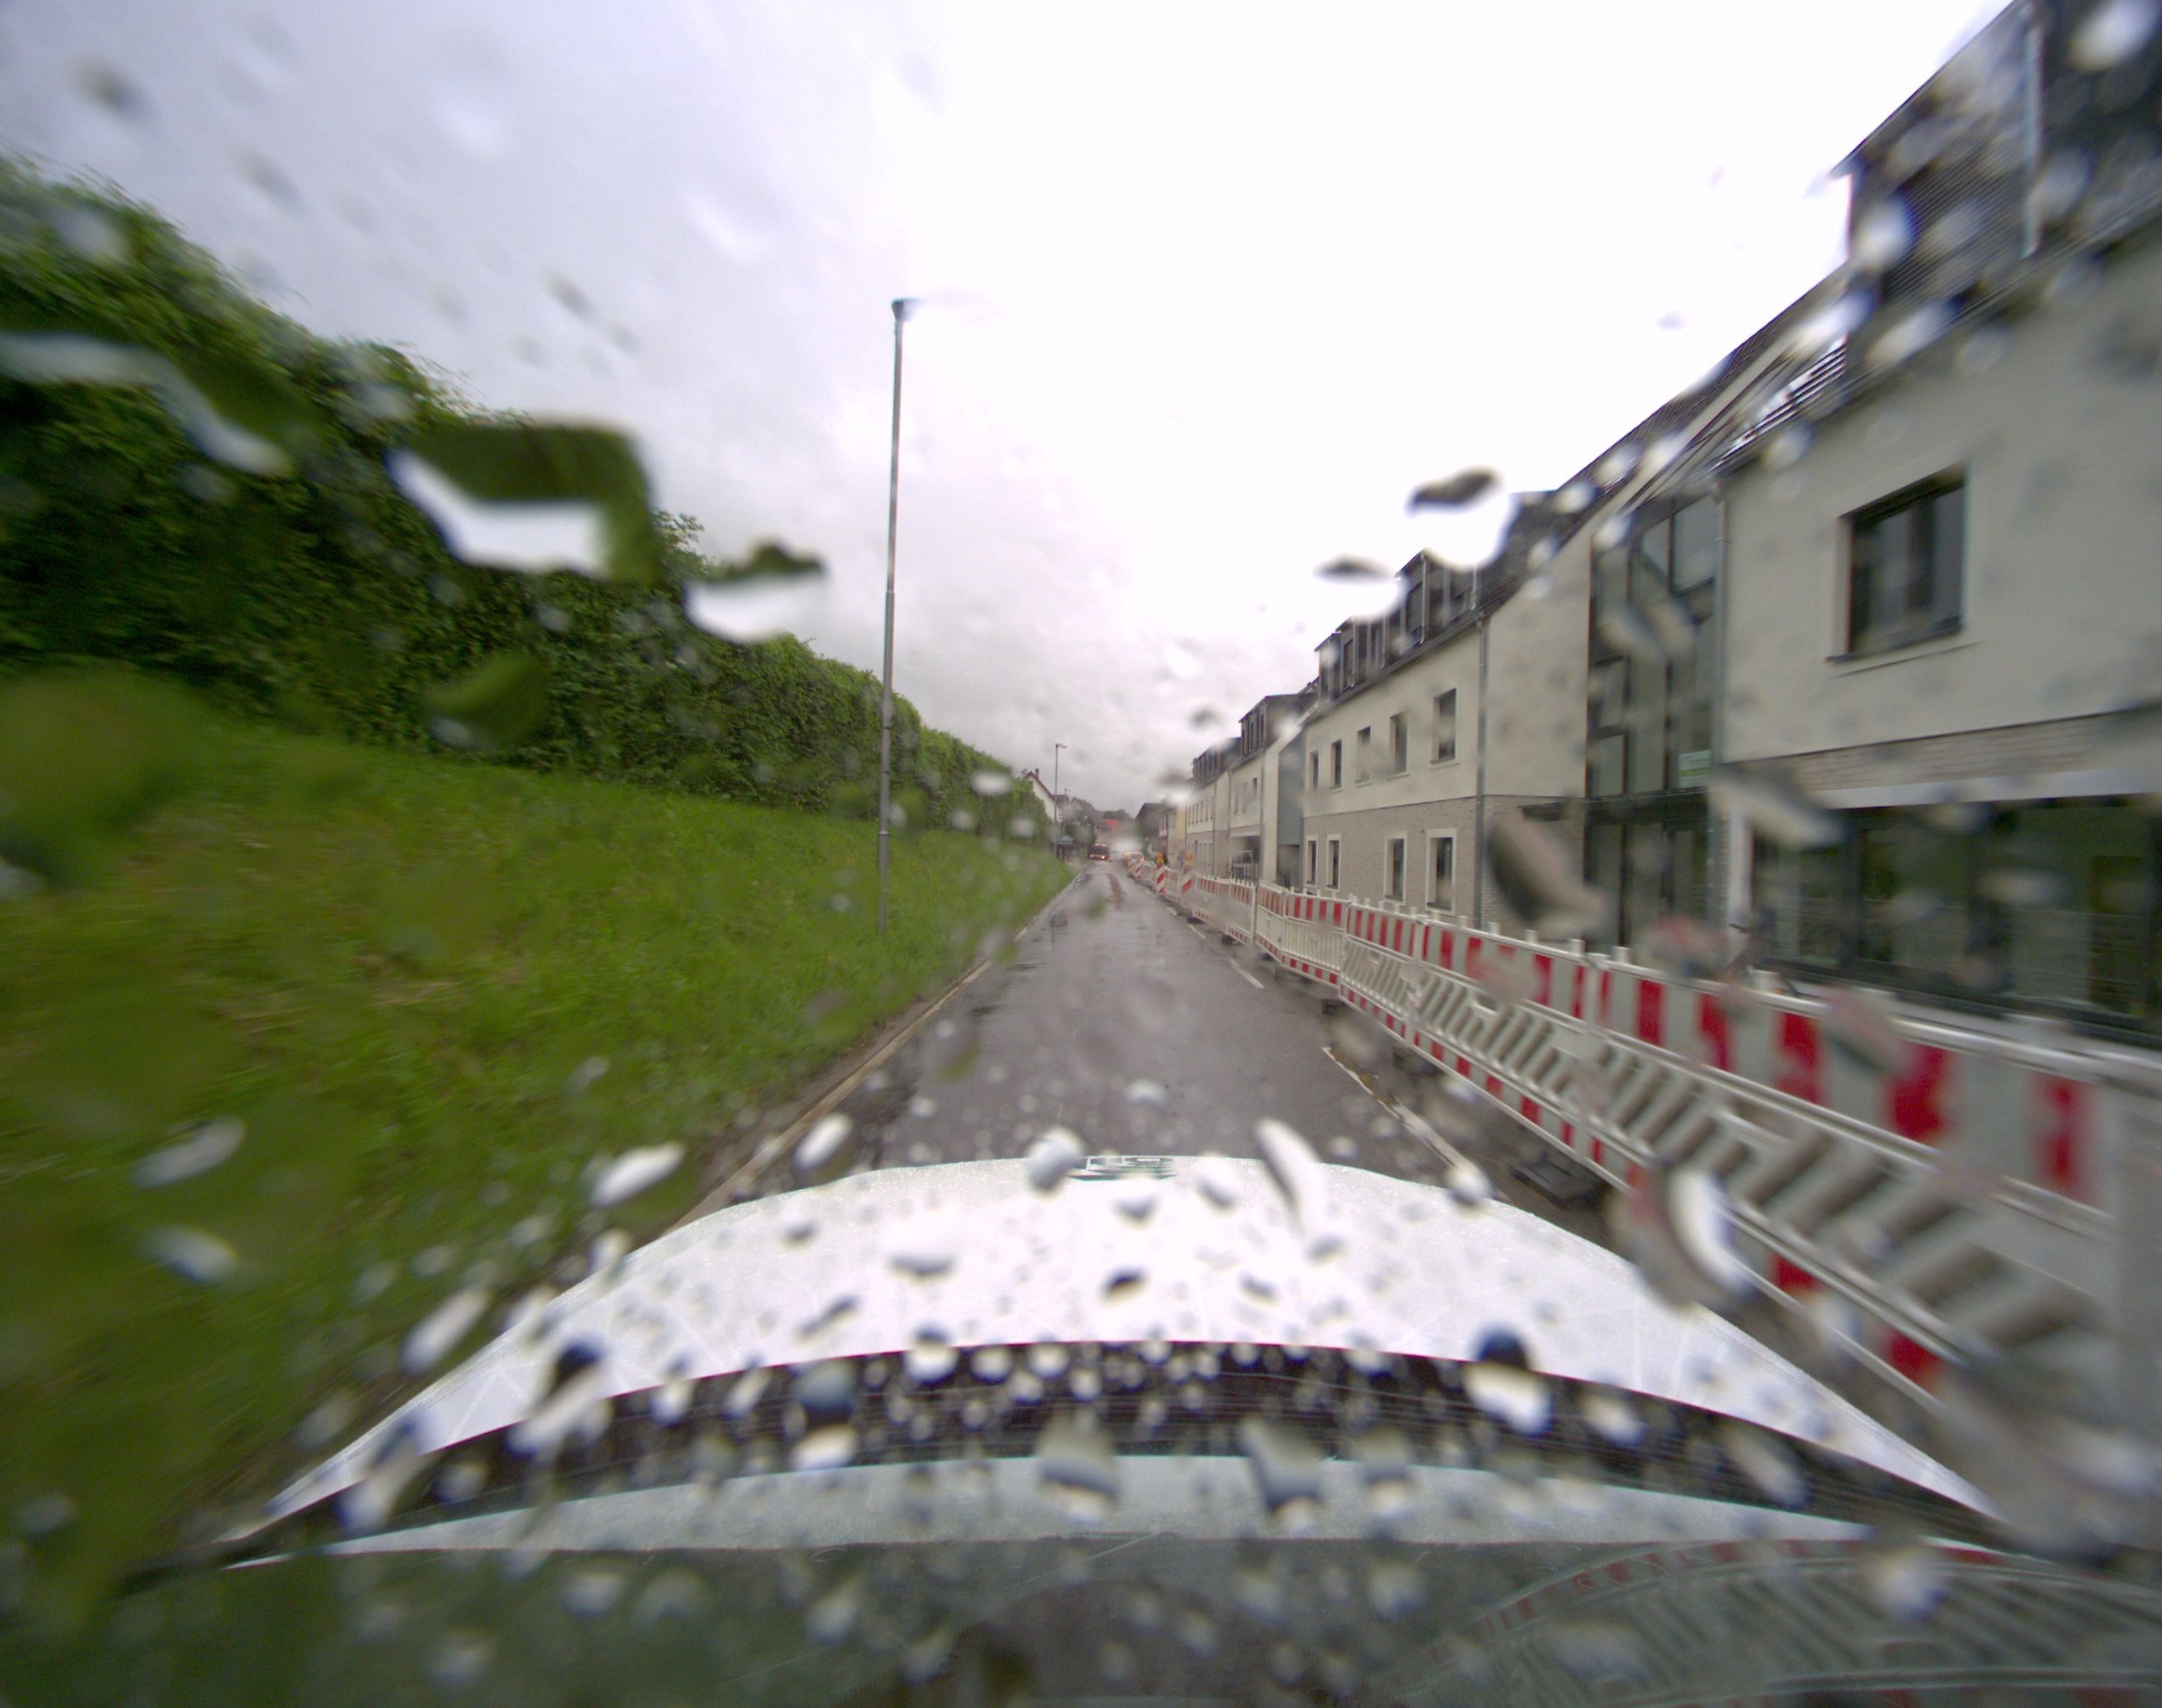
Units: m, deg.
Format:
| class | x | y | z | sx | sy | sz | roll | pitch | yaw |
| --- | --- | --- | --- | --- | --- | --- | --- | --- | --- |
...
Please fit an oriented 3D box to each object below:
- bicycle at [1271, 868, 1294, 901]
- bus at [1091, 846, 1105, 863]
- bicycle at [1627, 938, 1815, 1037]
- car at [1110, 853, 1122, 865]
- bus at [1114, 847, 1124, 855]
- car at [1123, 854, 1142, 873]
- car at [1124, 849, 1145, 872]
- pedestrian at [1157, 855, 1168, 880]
| class | x | y | z | sx | sy | sz | roll | pitch | yaw |
| --- | --- | --- | --- | --- | --- | --- | --- | --- | --- |
| bicycle | 8.091 | 1.210 | 32.710 | 0.516 | 1.220 | 1.790 | 2 | 0 | 3 |
| bus | 3.240 | 0.076 | 154.510 | 2.232 | 3.103 | 7.036 | 2 | 0 | 3 |
| bicycle | 6.455 | 1.314 | 8.344 | 0.494 | 0.697 | 1.739 | -4 | 0 | -1 |
| car | 5.444 | 0.771 | 126.964 | 1.811 | 1.642 | 4.097 | 2 | 0 | 1 |
| bus | 7.397 | -0.620 | 159.361 | 1.786 | 1.409 | 4.004 | 2 | 0 | 4 |
| car | 5.995 | 1.114 | 95.260 | 1.986 | 2.013 | 4.002 | 2 | 0 | 2 |
| car | 5.827 | 0.710 | 89.368 | 1.986 | 2.375 | 4.097 | 2 | 0 | 1 |
| pedestrian | 5.738 | 0.942 | 57.056 | 0.663 | 1.755 | 0.812 | 2 | -1 | 3 |
